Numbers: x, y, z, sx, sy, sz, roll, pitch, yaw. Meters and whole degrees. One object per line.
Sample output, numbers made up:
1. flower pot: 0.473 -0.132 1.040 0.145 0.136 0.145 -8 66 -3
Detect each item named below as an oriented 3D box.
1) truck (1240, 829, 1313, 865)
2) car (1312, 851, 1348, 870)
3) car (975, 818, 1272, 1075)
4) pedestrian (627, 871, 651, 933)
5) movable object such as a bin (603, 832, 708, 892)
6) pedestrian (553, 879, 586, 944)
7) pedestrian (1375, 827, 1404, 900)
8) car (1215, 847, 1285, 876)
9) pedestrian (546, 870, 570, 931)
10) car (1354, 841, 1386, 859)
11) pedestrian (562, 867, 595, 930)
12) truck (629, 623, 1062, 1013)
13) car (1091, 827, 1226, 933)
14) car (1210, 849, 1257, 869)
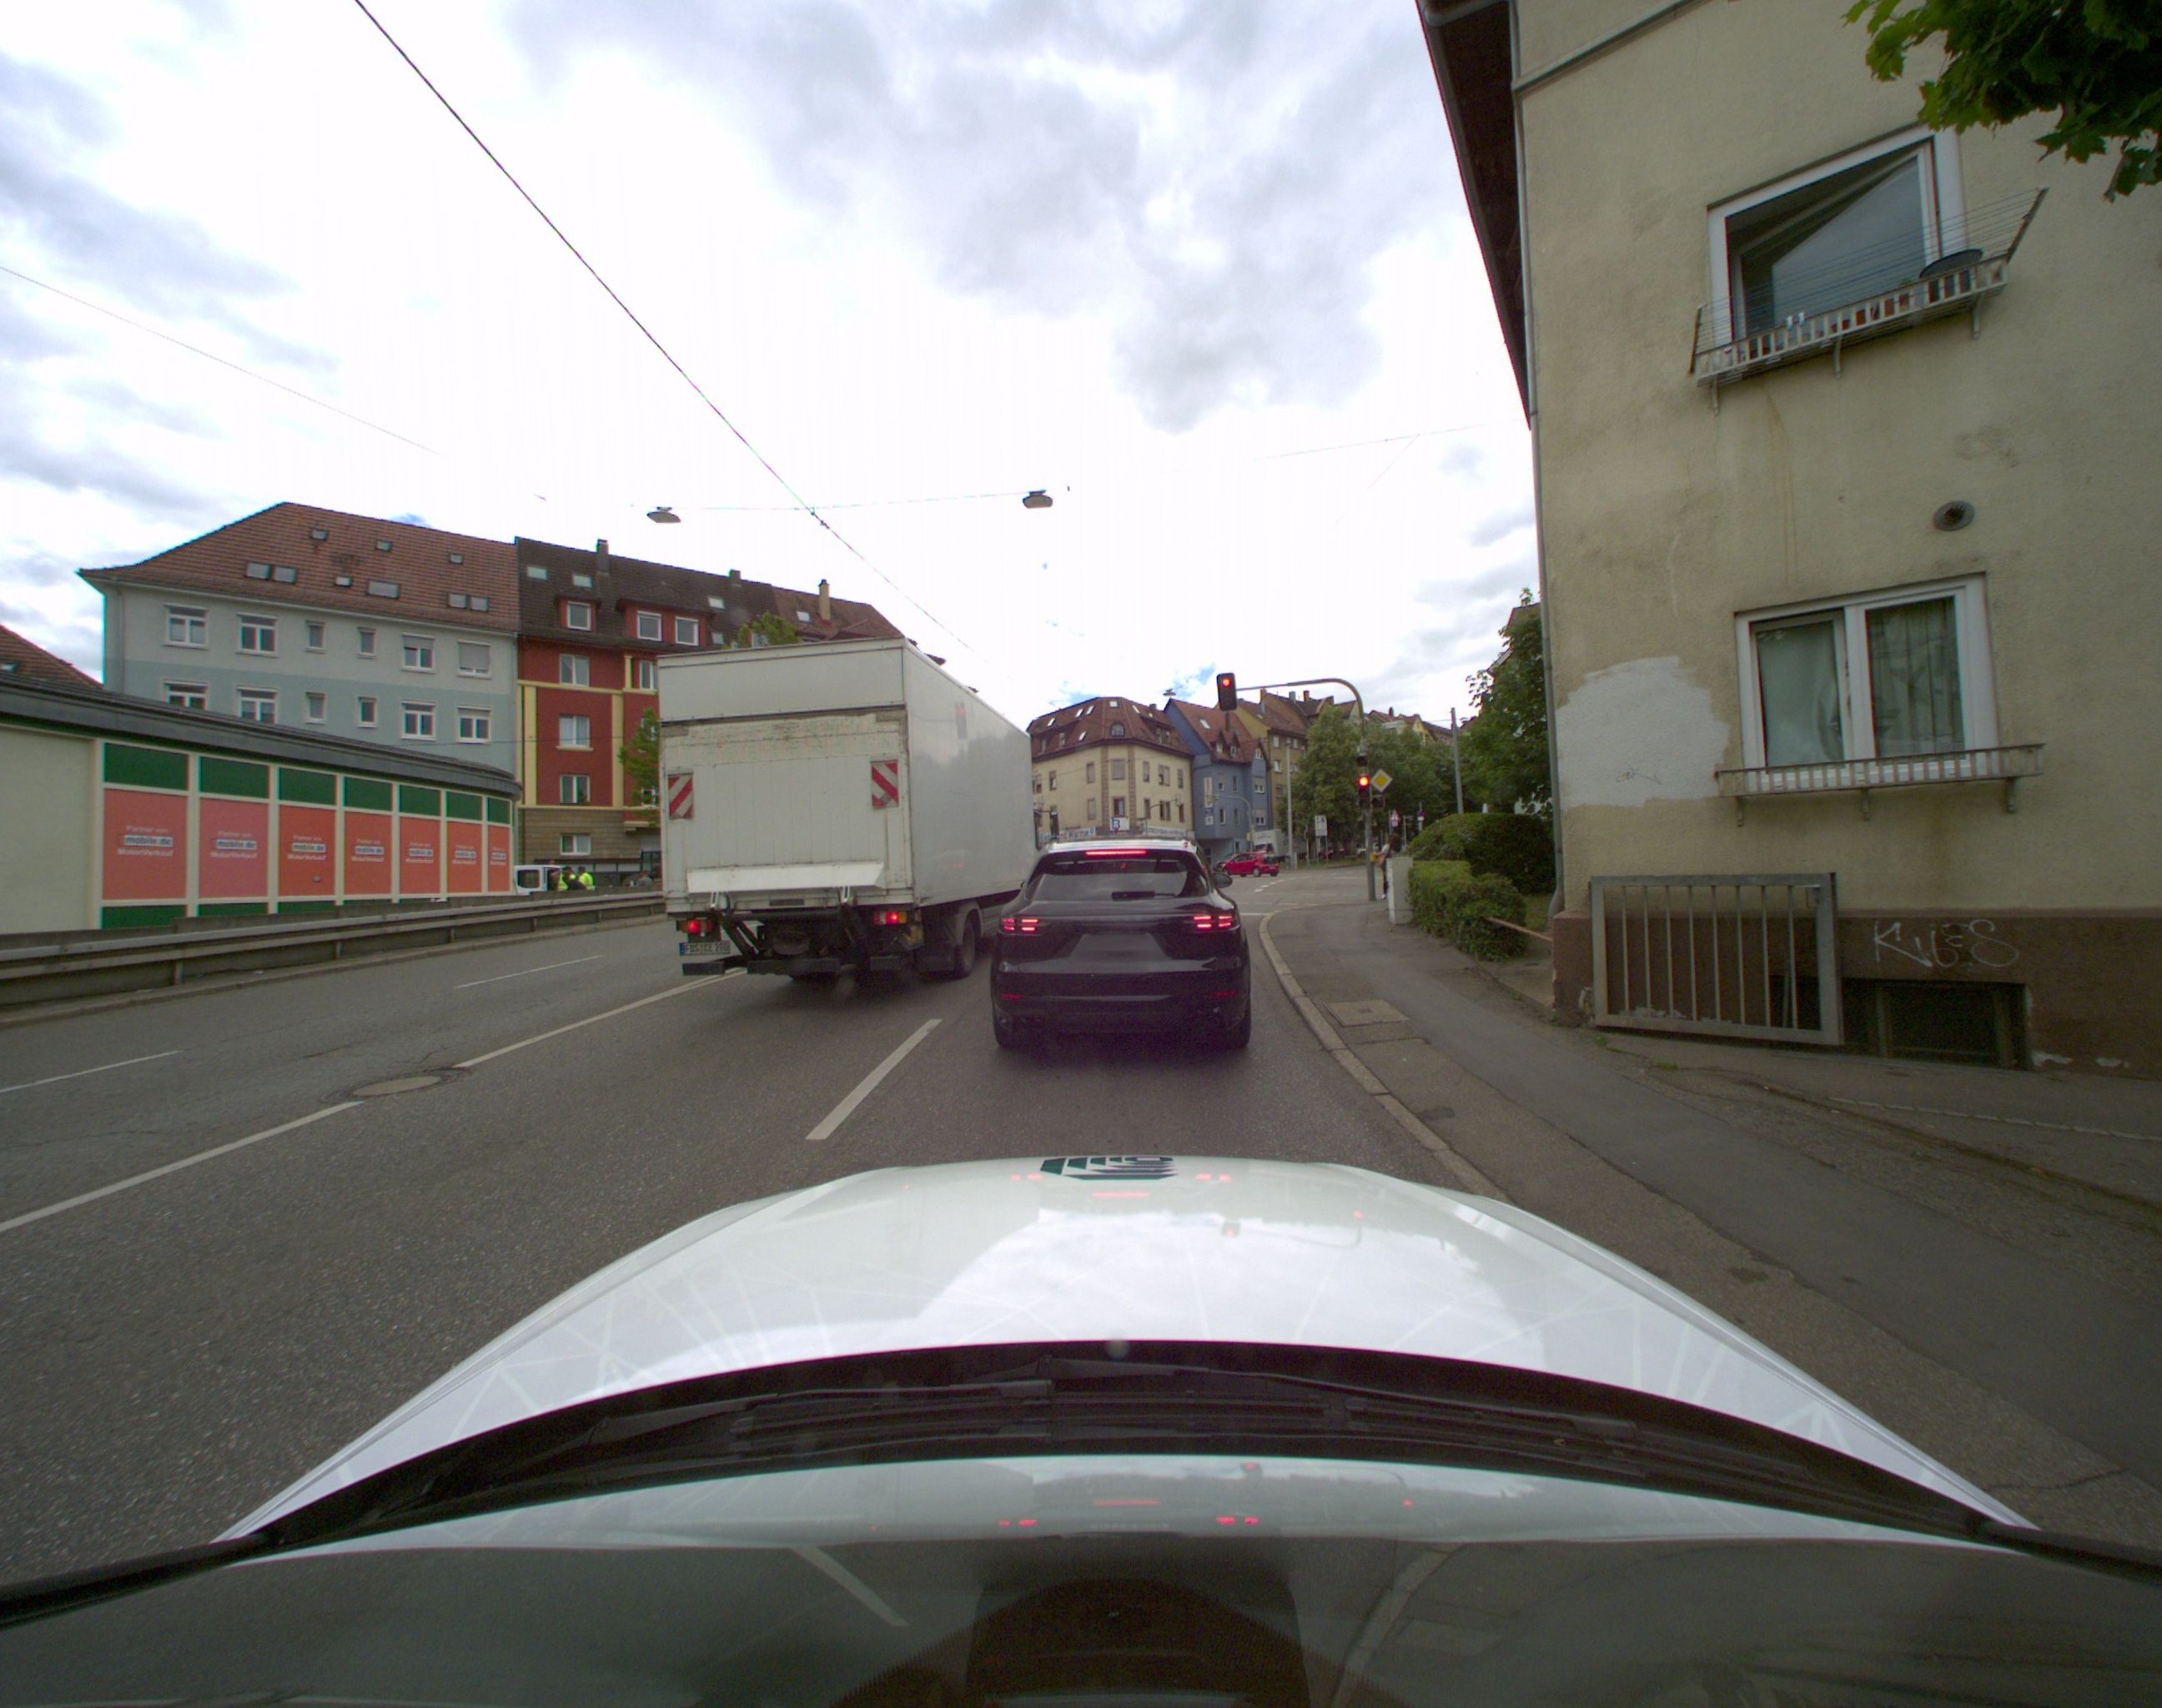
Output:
1. truck: 19.025 -0.632 78.703 2.846 3.340 8.846 0 0 43
2. car: 26.200 0.697 85.713 1.975 2.014 4.023 0 -1 45
3. car: 0.264 0.601 7.494 1.973 1.684 3.998 -1 0 -1
4. pedestrian: -12.595 1.361 23.202 0.545 1.730 0.587 1 -1 -33
5. movable object such as a bin: -13.543 0.268 26.208 1.903 1.771 3.984 1 0 -11
6. pedestrian: -13.707 1.526 21.840 0.562 1.700 0.541 1 -1 -10
7. pedestrian: 7.819 0.230 20.676 0.525 1.820 0.591 1 -1 1
8. car: 9.923 0.433 48.123 1.723 1.662 3.957 1 -1 -35
9. pedestrian: -15.227 1.349 23.709 0.479 1.730 0.536 1 -1 -44
10. car: 32.690 -0.430 92.127 1.975 2.014 4.024 0 -1 43
11. pedestrian: -14.263 1.257 23.116 0.571 1.761 0.616 1 -1 -9
12. truck: -2.350 -0.343 11.626 2.753 3.575 8.083 -1 0 8
13. car: 1.581 0.433 15.150 1.980 1.684 4.014 -1 0 12
14. car: 13.461 0.452 71.764 4.021 1.684 1.976 -1 -1 -41
